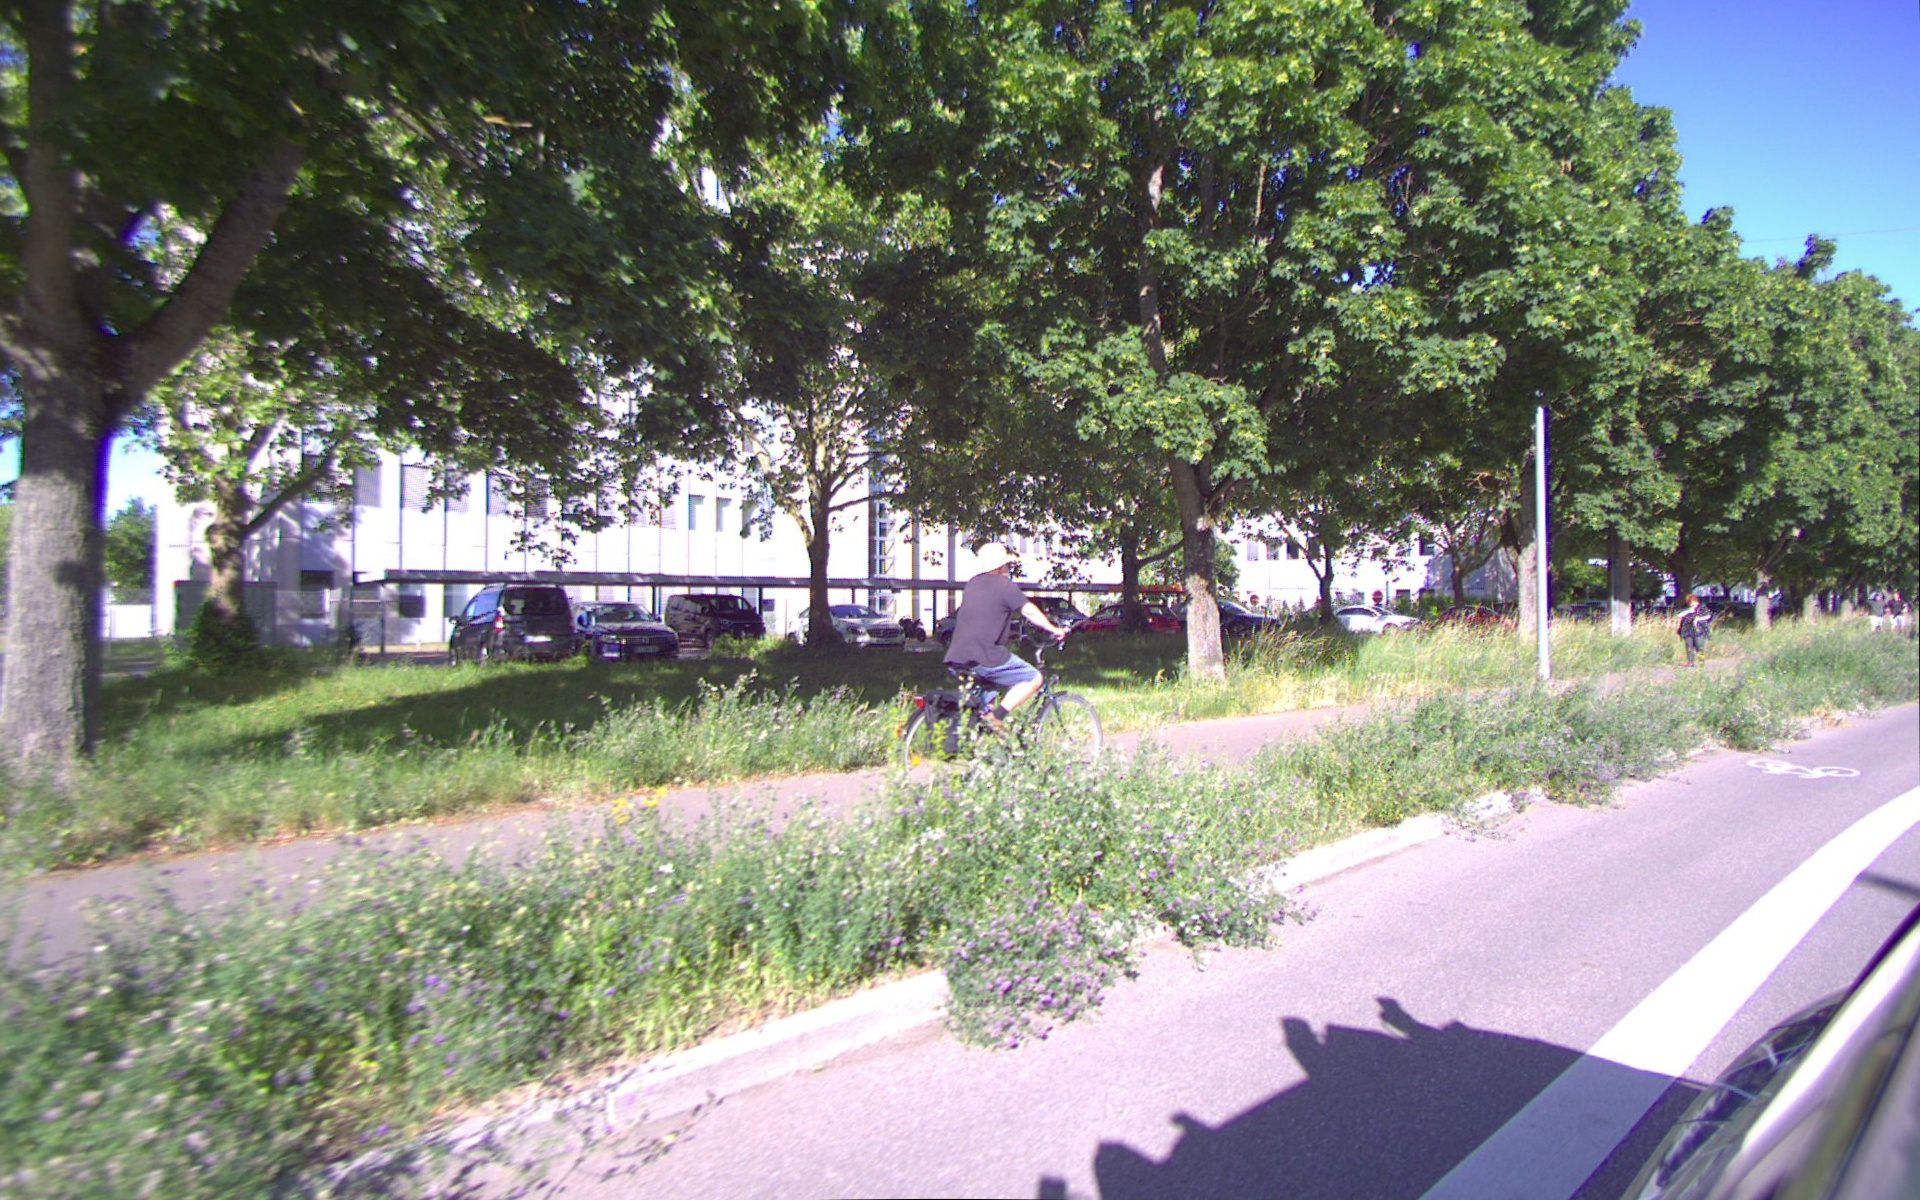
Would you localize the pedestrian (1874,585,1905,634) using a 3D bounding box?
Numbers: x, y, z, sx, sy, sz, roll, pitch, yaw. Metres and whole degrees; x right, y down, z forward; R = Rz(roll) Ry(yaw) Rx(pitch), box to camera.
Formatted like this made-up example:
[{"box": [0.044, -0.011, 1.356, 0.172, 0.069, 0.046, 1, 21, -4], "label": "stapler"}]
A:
[{"box": [38.101, 0.386, 41.491, 0.801, 1.955, 0.710, 0, -1, -33], "label": "pedestrian"}]

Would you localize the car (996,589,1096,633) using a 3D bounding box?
[{"box": [3.988, 0.498, 47.542, 1.939, 1.975, 4.759, 1, 0, -39], "label": "car"}]

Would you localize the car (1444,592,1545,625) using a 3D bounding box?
[{"box": [26.833, 0.405, 50.876, 4.228, 1.555, 1.739, 1, 1, 42], "label": "car"}]

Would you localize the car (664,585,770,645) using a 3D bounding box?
[{"box": [-8.879, 0.499, 36.722, 1.923, 2.039, 4.595, 0, 0, -39], "label": "car"}]

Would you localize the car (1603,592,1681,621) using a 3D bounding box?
[{"box": [43.126, 0.394, 64.162, 1.887, 1.774, 5.442, -1, 0, 8], "label": "car"}]

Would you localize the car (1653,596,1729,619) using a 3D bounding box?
[{"box": [51.640, 0.533, 71.593, 1.811, 1.535, 4.552, -1, 0, -3], "label": "car"}]

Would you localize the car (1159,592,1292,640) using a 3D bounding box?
[{"box": [9.539, 0.544, 36.651, 1.852, 1.617, 4.397, 0, 0, -42], "label": "car"}]

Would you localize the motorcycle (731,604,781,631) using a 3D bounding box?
[{"box": [-10.353, 0.884, 51.312, 1.000, 1.338, 3.035, 0, 0, -45], "label": "motorcycle"}]

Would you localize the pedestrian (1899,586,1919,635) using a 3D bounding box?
[{"box": [38.459, 0.416, 40.800, 0.801, 1.942, 0.709, 0, -1, -38], "label": "pedestrian"}]

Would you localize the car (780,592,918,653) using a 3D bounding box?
[{"box": [-2.980, 0.556, 26.455, 1.790, 1.450, 4.177, 0, -1, -36], "label": "car"}]

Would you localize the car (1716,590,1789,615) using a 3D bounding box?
[{"box": [62.337, 0.186, 79.737, 2.044, 1.900, 5.176, -1, 0, 7], "label": "car"}]

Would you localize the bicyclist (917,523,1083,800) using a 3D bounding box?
[{"box": [0.274, 0.378, 6.913, 0.886, 1.742, 0.684, -1, 0, -39], "label": "bicyclist"}]

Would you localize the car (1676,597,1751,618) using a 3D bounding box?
[{"box": [54.687, 0.538, 73.560, 1.811, 1.467, 4.552, -1, 0, -3], "label": "car"}]

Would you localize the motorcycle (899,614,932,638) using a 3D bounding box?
[{"box": [-1.887, 1.076, 42.852, 0.528, 0.983, 1.652, 0, 0, -39], "label": "motorcycle"}]

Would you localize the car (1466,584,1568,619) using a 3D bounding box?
[{"box": [28.659, 0.049, 52.151, 4.332, 1.722, 1.739, 1, 0, 42], "label": "car"}]

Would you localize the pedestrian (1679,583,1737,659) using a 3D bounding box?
[{"box": [16.171, 0.444, 21.882, 0.748, 1.589, 0.826, 0, -1, -38], "label": "pedestrian"}]

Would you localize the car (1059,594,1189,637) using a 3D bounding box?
[{"box": [5.443, 0.496, 34.098, 1.903, 1.341, 4.307, 1, 0, -34], "label": "car"}]

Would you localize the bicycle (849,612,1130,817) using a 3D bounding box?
[{"box": [0.271, 0.706, 6.911, 2.105, 1.220, 0.484, 2, -2, -39], "label": "bicycle"}]

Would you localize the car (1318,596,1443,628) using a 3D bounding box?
[{"box": [18.162, 0.487, 43.864, 1.776, 1.287, 4.705, 2, 0, -41], "label": "car"}]

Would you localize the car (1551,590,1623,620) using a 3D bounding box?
[{"box": [36.354, 0.291, 58.756, 1.691, 1.659, 3.986, -1, 0, 1], "label": "car"}]

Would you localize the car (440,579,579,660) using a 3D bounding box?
[{"box": [-9.456, 0.362, 21.088, 1.706, 1.524, 4.039, 0, 0, -38], "label": "car"}]

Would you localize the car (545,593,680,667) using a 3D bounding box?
[{"box": [-7.766, 0.599, 22.361, 1.657, 1.477, 4.369, 0, 0, -36], "label": "car"}]

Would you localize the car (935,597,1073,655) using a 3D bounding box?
[{"box": [1.195, 0.705, 29.064, 1.677, 1.544, 3.999, 0, 0, -42], "label": "car"}]
